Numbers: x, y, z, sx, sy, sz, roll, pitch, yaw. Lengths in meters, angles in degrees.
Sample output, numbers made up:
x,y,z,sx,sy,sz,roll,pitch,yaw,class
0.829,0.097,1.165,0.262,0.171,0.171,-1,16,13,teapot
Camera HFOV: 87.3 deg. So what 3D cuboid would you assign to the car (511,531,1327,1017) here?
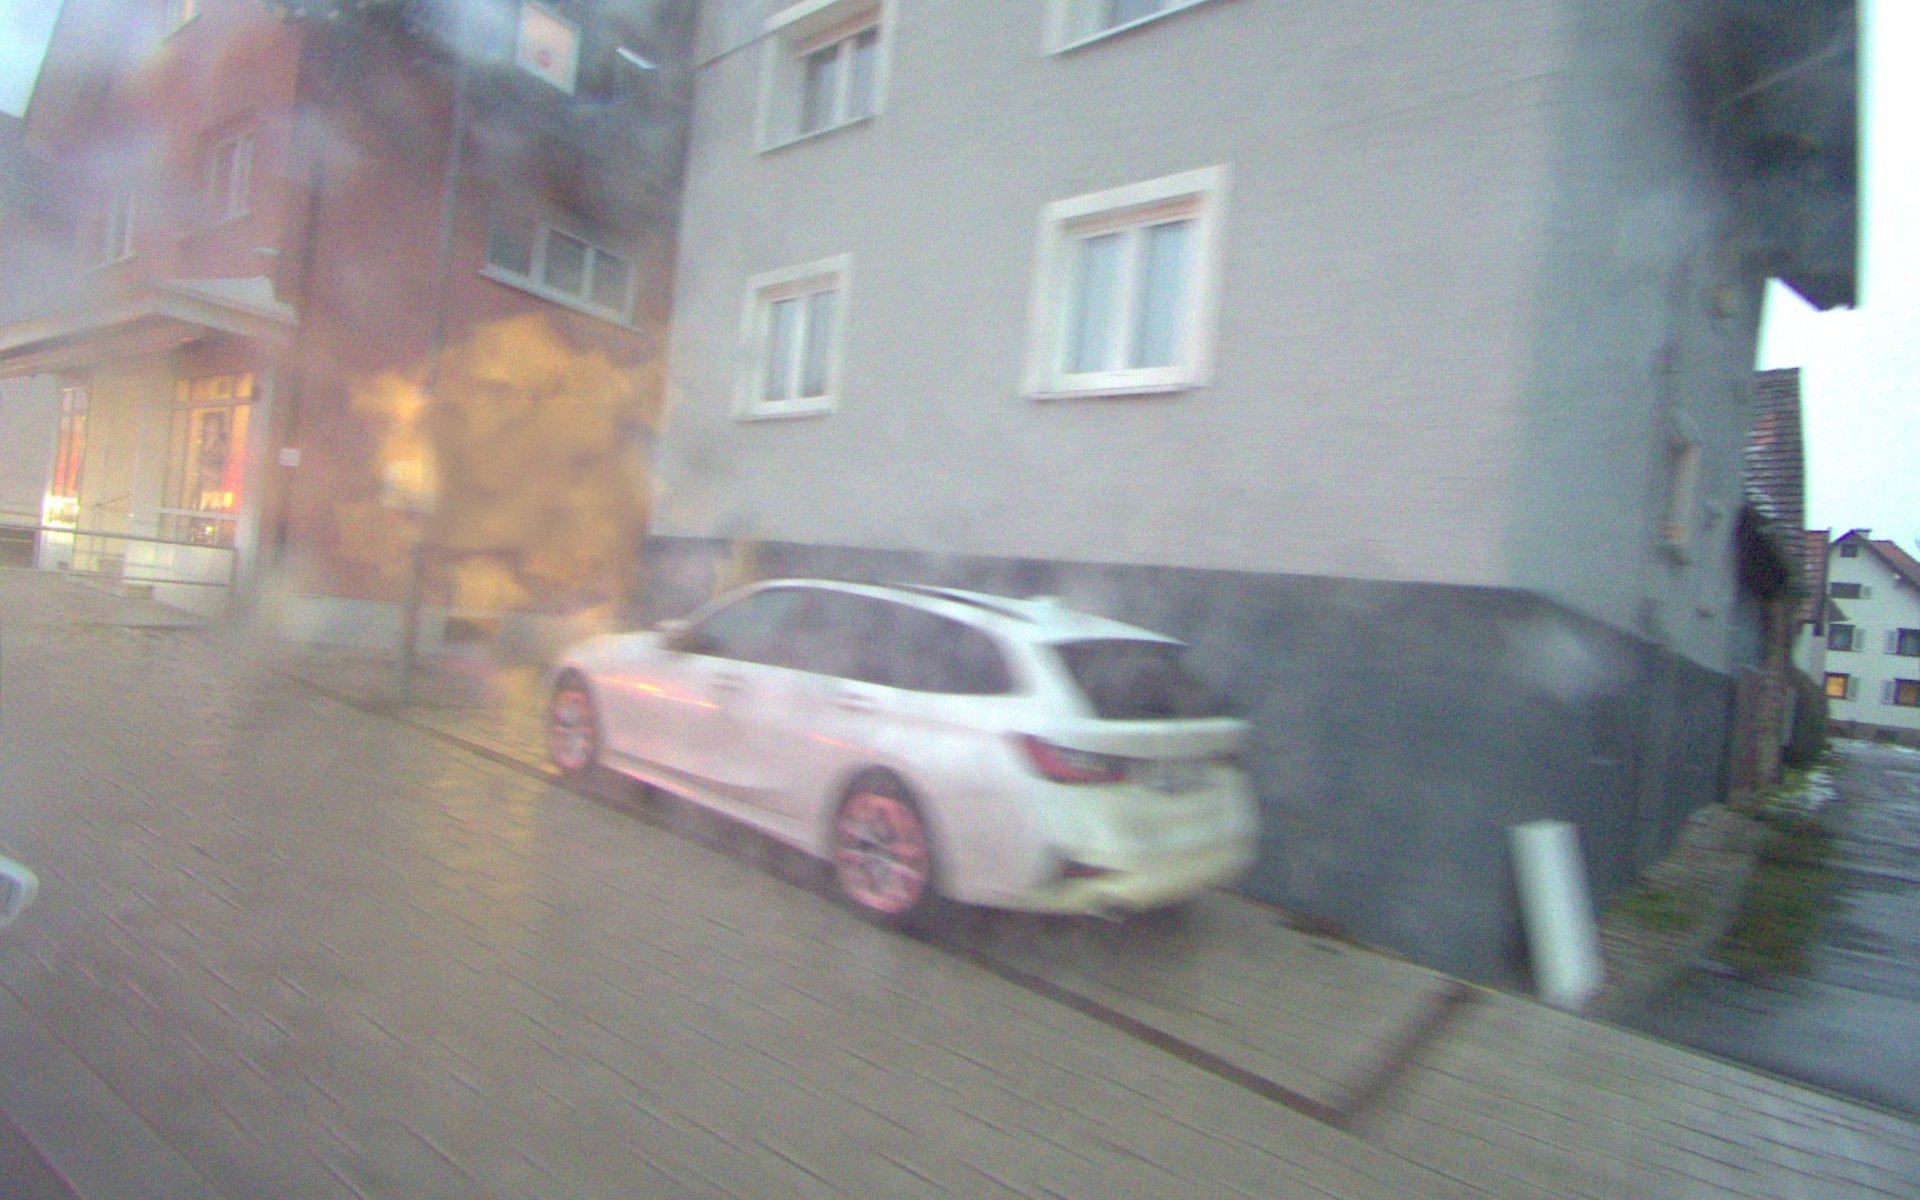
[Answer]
x,y,z,sx,sy,sz,roll,pitch,yaw,class
-0.564,0.576,5.707,4.479,1.485,1.880,8,1,42,car
